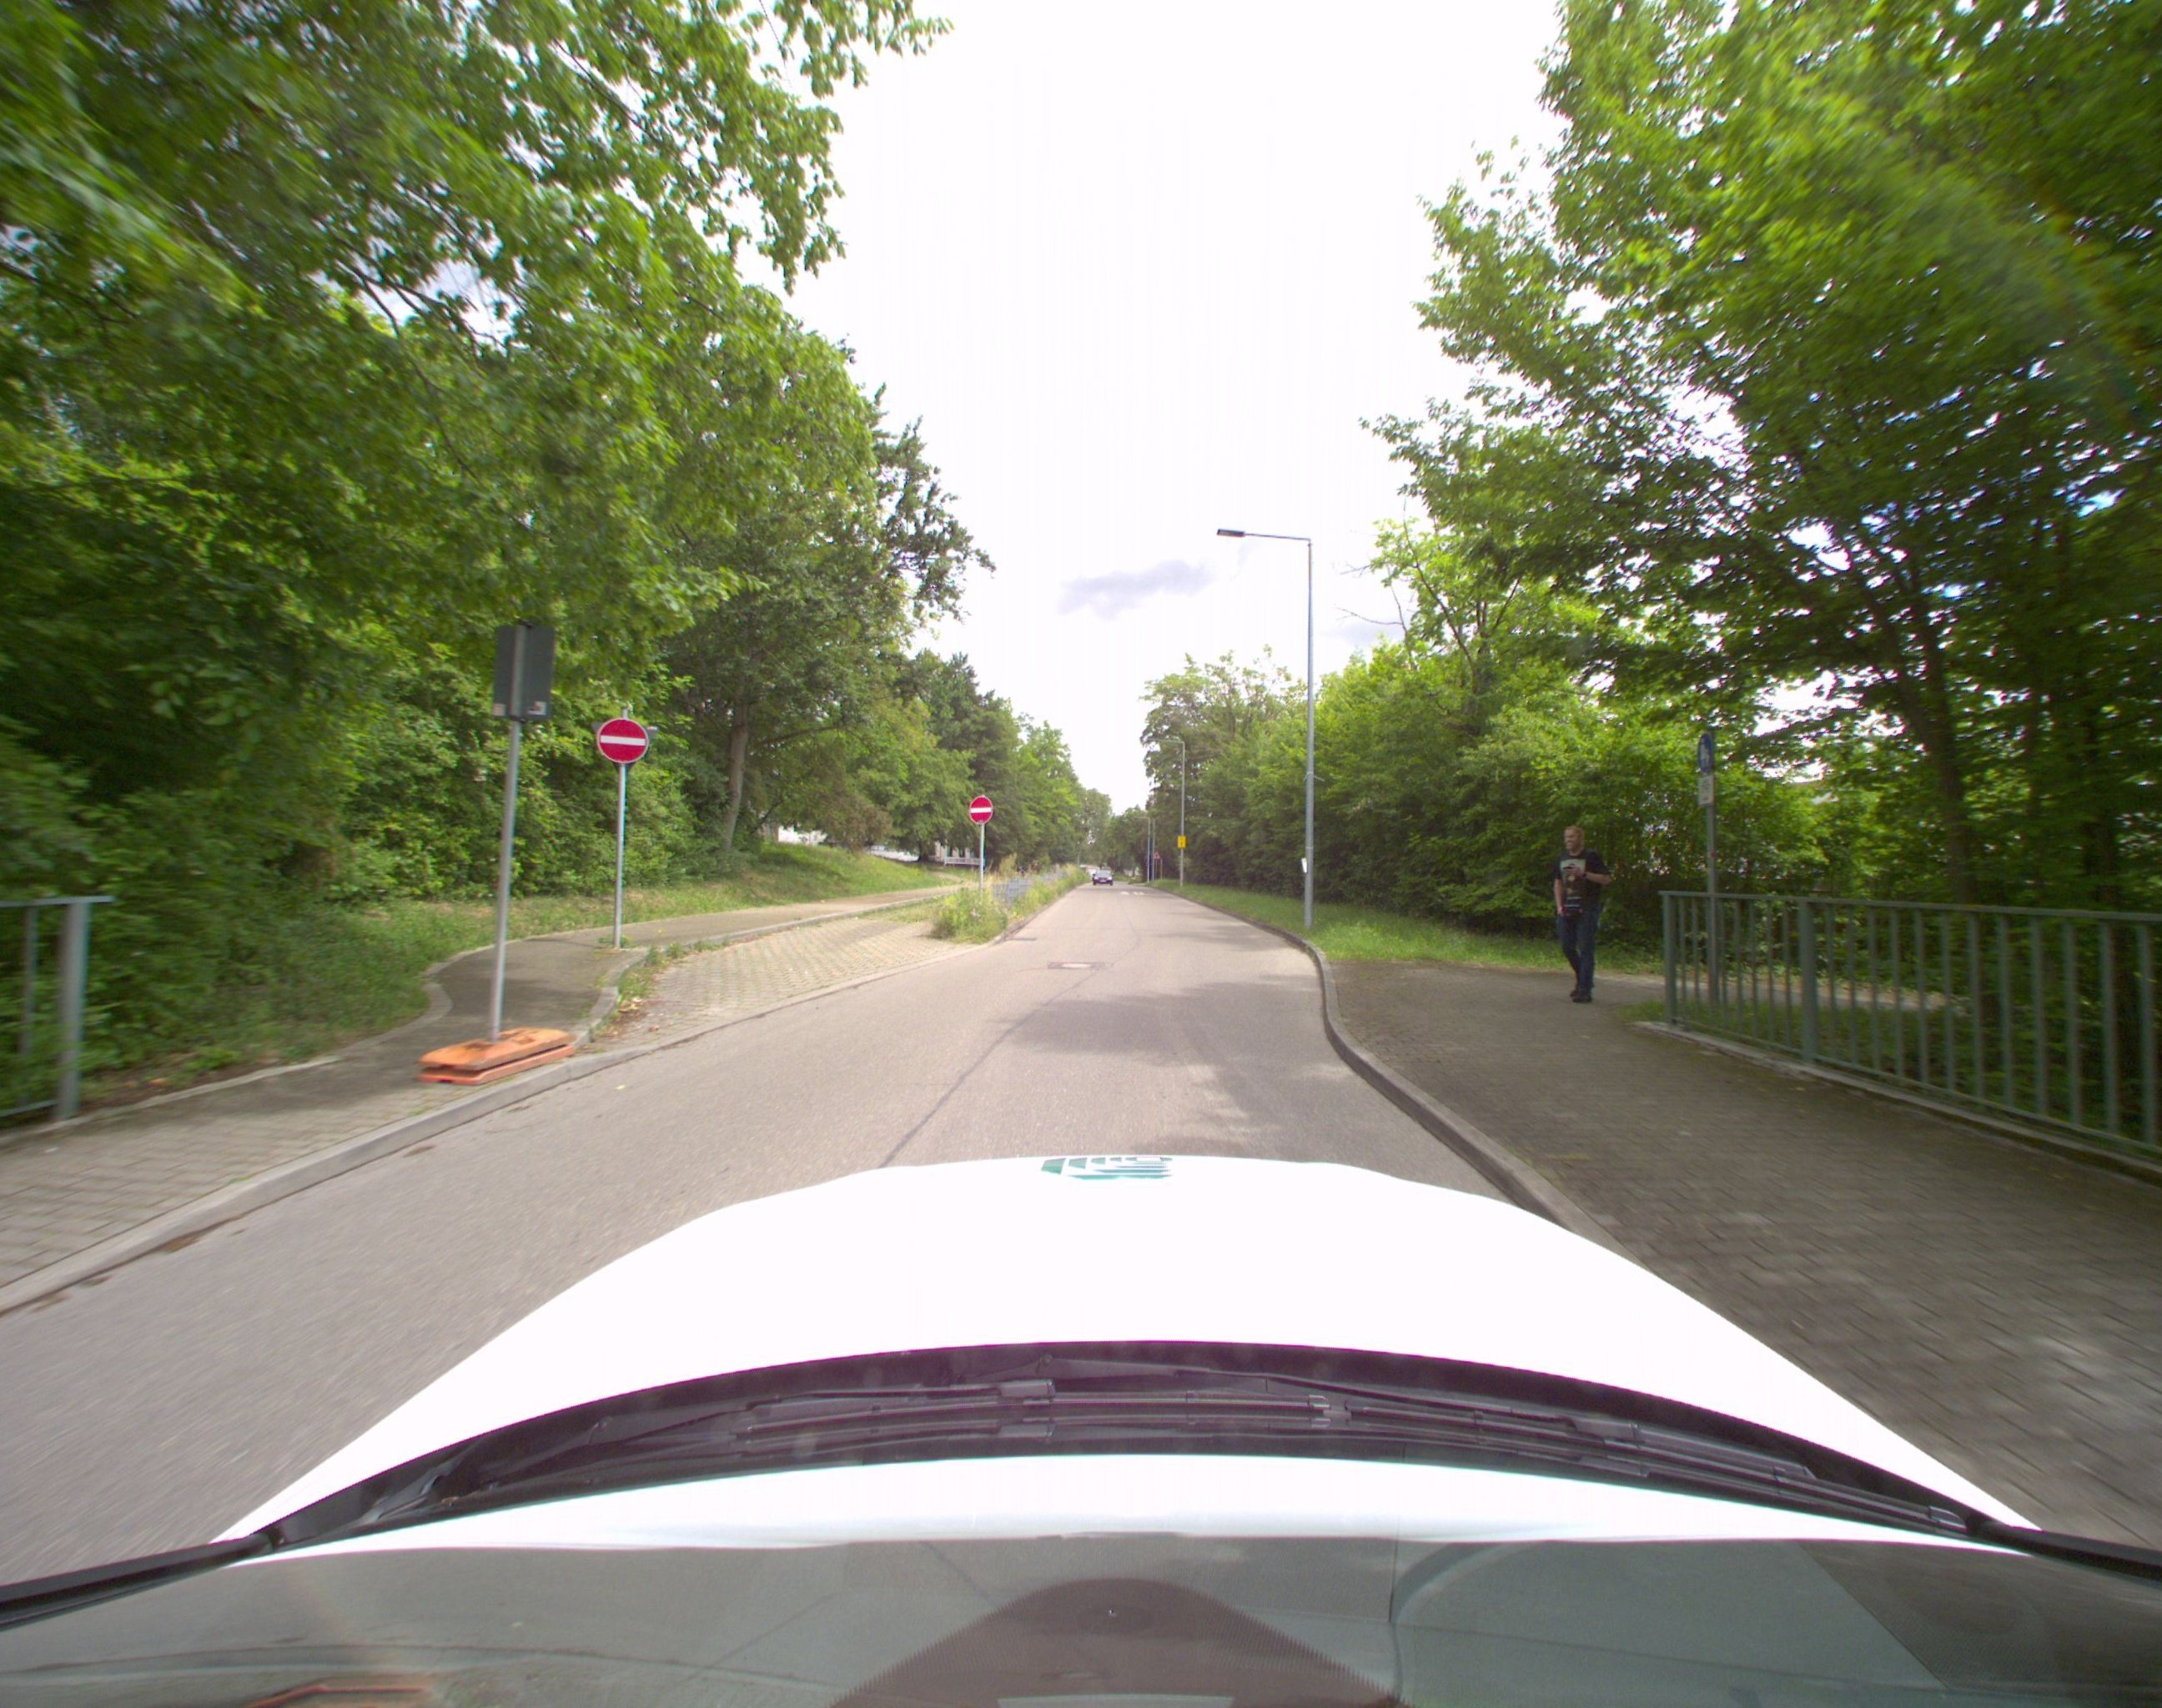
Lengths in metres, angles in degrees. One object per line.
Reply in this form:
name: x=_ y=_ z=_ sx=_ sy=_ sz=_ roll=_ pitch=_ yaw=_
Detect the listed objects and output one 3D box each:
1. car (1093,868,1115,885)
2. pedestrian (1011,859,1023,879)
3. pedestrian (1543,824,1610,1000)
car: x=2.033 y=1.944 z=71.151 sx=1.685 sy=1.349 sz=4.098 roll=1 pitch=-1 yaw=4
pedestrian: x=-6.565 y=1.517 z=84.055 sx=0.872 sy=2.014 sz=0.867 roll=3 pitch=-6 yaw=-43
pedestrian: x=5.278 y=0.592 z=8.692 sx=0.581 sy=1.783 sz=0.686 roll=-1 pitch=-1 yaw=31
